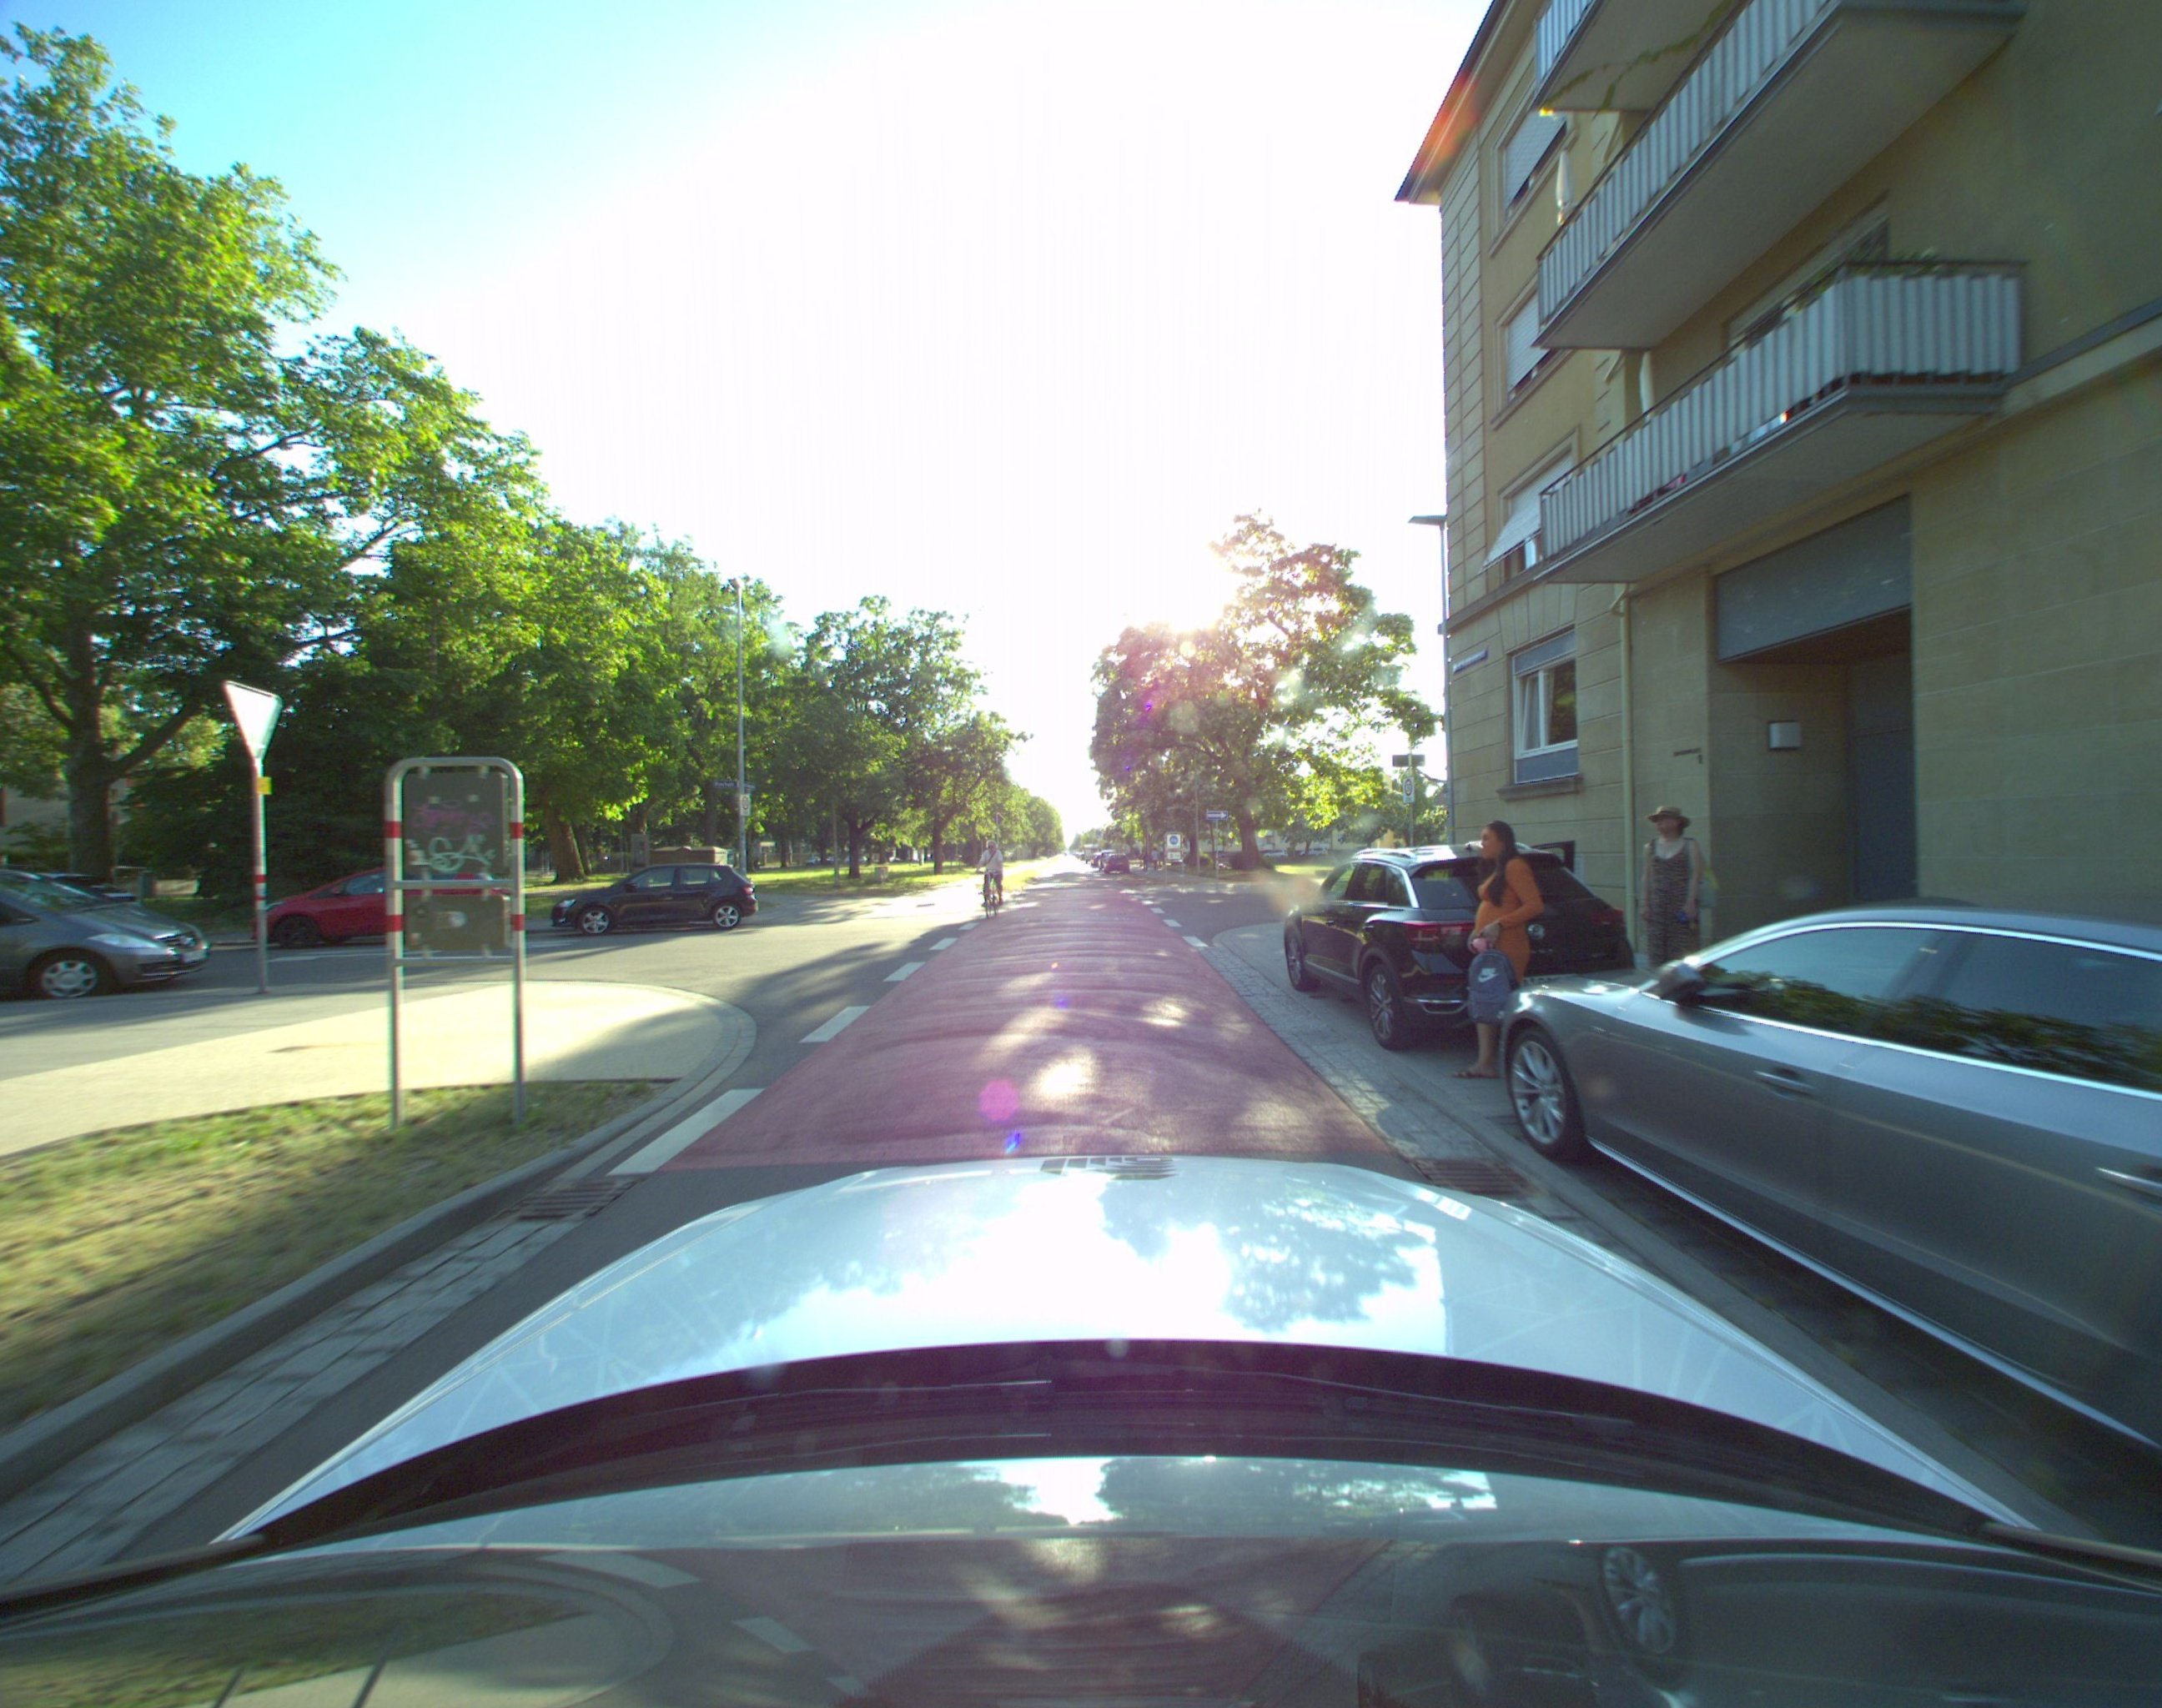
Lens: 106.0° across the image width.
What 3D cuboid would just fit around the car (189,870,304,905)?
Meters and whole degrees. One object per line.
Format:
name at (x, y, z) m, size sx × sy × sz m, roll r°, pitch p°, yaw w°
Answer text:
car at (-42.384, 1.661, 41.492) m, size 1.988 × 1.618 × 3.737 m, roll -1°, pitch 0°, yaw -1°

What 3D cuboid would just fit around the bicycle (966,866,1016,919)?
bicycle at (-2.089, 0.887, 19.250) m, size 0.734 × 1.135 × 2.108 m, roll -1°, pitch 0°, yaw 6°

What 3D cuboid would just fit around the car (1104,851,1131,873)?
car at (2.682, 0.600, 61.318) m, size 1.673 × 1.486 × 4.807 m, roll -2°, pitch 0°, yaw -1°

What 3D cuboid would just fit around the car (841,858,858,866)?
car at (-43.835, 1.542, 154.369) m, size 1.987 × 1.508 × 4.114 m, roll -2°, pitch 0°, yaw 0°

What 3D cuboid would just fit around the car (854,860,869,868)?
car at (-44.017, 1.941, 163.461) m, size 1.987 × 1.508 × 4.114 m, roll -2°, pitch 0°, yaw 0°

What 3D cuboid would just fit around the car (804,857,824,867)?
car at (-43.430, 1.272, 132.645) m, size 1.987 × 1.508 × 3.999 m, roll -2°, pitch 0°, yaw 0°

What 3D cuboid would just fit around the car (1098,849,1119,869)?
car at (2.534, 0.473, 75.418) m, size 1.673 × 1.740 × 4.511 m, roll -2°, pitch 0°, yaw -1°

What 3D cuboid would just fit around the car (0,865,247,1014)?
car at (-13.039, 1.006, 9.737) m, size 3.853 × 1.631 × 1.825 m, roll -1°, pitch 0°, yaw -25°

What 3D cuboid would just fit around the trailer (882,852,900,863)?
trailer at (-44.050, 0.863, 188.526) m, size 2.451 × 2.489 × 7.048 m, roll -2°, pitch 0°, yaw 0°

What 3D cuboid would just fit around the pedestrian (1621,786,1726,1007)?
pedestrian at (5.218, 0.349, 7.175) m, size 0.735 × 1.830 × 0.550 m, roll 0°, pitch 0°, yaw -37°

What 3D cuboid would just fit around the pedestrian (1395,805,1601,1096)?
pedestrian at (2.707, 0.584, 5.375) m, size 0.950 × 1.769 × 0.778 m, roll 0°, pitch 0°, yaw -2°

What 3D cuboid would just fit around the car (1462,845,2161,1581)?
car at (3.044, 0.730, 2.559) m, size 1.697 × 1.420 × 4.350 m, roll -4°, pitch 0°, yaw 2°

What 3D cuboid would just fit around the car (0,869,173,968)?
car at (-18.593, 1.102, 13.685) m, size 4.003 × 1.574 × 1.877 m, roll -1°, pitch -2°, yaw -22°

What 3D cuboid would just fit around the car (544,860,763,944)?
car at (-9.120, 0.981, 17.685) m, size 4.007 × 1.574 × 1.875 m, roll -1°, pitch -2°, yaw -26°

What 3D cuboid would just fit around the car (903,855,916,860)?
car at (-46.068, 0.939, 219.070) m, size 2.499 × 1.508 × 4.911 m, roll -2°, pitch 0°, yaw 0°

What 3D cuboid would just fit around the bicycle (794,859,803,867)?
bicycle at (-45.459, 1.482, 131.025) m, size 0.655 × 1.175 × 2.330 m, roll -2°, pitch 0°, yaw -4°

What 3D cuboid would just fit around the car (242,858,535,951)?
car at (-13.274, 0.921, 15.985) m, size 4.007 × 1.574 × 1.875 m, roll -1°, pitch -2°, yaw -26°

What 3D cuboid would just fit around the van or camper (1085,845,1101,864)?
van or camper at (1.861, 0.145, 128.475) m, size 2.228 × 2.904 × 5.669 m, roll -2°, pitch -1°, yaw -1°

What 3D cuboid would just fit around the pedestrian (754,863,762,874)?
pedestrian at (-28.524, 1.277, 71.936) m, size 0.548 × 0.987 × 0.608 m, roll -2°, pitch -1°, yaw -10°

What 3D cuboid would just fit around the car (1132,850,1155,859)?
car at (11.619, 0.046, 150.500) m, size 4.177 × 1.530 × 2.002 m, roll -2°, pitch 0°, yaw 3°

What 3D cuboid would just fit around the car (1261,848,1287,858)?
car at (32.754, -0.238, 138.469) m, size 3.950 × 1.552 × 1.620 m, roll -2°, pitch -1°, yaw 26°

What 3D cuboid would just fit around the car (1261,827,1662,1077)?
car at (3.128, 0.645, 7.818) m, size 1.698 × 1.625 × 4.347 m, roll -4°, pitch 1°, yaw -1°

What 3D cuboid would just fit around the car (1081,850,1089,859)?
car at (0.829, 0.099, 169.632) m, size 1.622 × 1.669 × 4.247 m, roll -2°, pitch 0°, yaw -1°

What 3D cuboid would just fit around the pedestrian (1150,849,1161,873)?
pedestrian at (5.569, 0.506, 60.984) m, size 0.723 × 1.736 × 0.731 m, roll 0°, pitch 0°, yaw -1°

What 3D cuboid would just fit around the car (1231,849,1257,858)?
car at (29.403, -0.127, 146.869) m, size 4.475 × 1.569 × 1.889 m, roll -2°, pitch 0°, yaw 17°

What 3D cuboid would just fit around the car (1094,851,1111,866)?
car at (2.364, 0.517, 90.832) m, size 1.726 × 1.551 × 4.275 m, roll -2°, pitch 0°, yaw 0°

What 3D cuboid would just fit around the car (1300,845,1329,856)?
car at (40.483, -0.569, 141.099) m, size 4.467 × 1.746 × 1.892 m, roll -2°, pitch -1°, yaw 34°

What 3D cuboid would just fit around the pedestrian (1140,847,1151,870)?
pedestrian at (4.828, 0.346, 60.967) m, size 0.751 × 1.736 × 0.731 m, roll 0°, pitch 0°, yaw -1°

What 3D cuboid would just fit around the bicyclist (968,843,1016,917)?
bicyclist at (-2.093, 0.605, 19.304) m, size 0.933 × 1.702 × 0.907 m, roll -1°, pitch 0°, yaw 5°
